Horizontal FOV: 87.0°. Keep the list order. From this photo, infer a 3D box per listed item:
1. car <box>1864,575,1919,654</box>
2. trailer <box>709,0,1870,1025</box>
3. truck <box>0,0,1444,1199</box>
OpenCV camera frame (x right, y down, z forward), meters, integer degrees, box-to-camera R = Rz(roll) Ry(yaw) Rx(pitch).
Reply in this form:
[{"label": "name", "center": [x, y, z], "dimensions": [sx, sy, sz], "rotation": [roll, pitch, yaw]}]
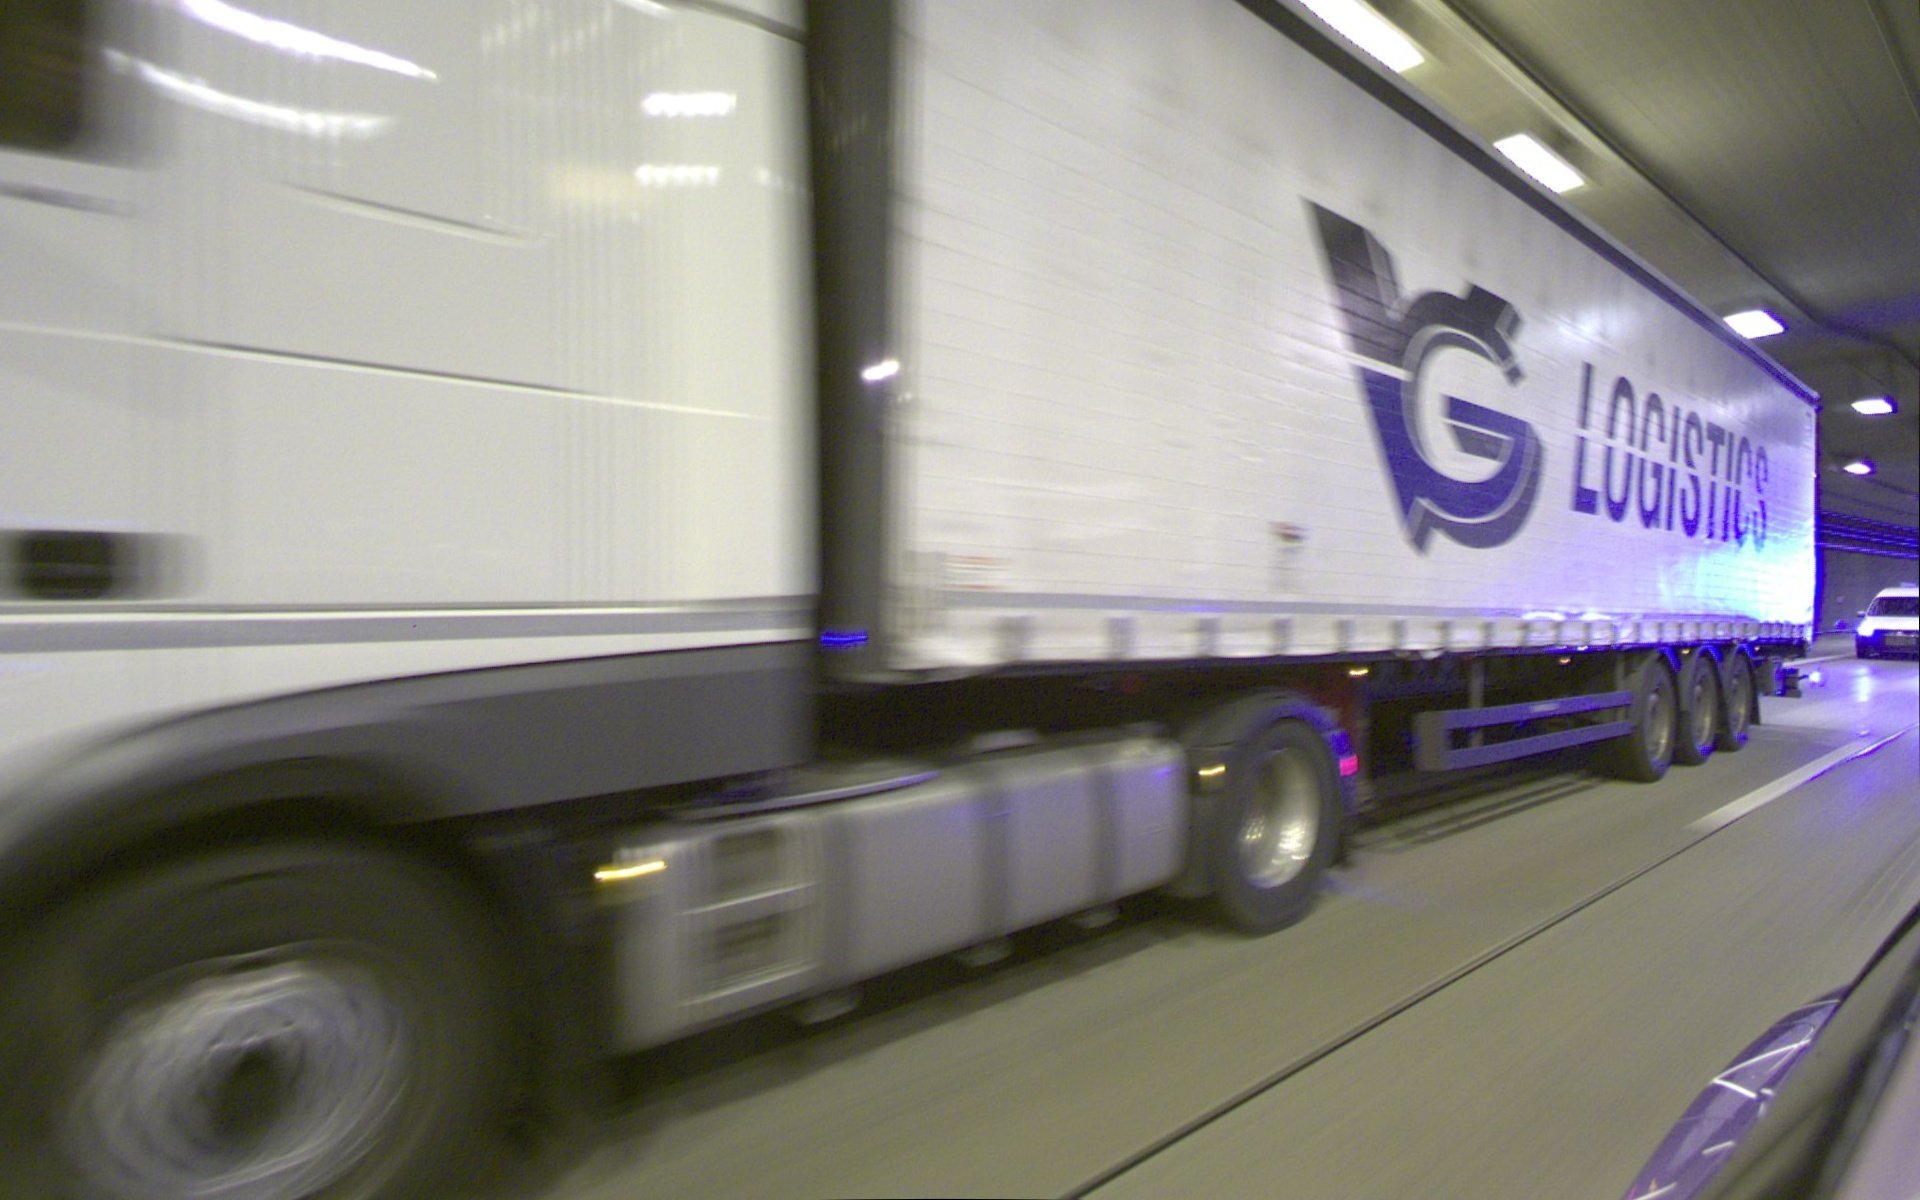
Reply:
[{"label": "car", "center": [24.493, 0.336, 25.503], "dimensions": [4.209, 1.883, 1.840], "rotation": [0, 0, -38]}, {"label": "trailer", "center": [4.777, -0.742, 8.751], "dimensions": [13.752, 4.216, 2.625], "rotation": [0, -1, -40]}, {"label": "truck", "center": [-0.708, -0.704, 4.168], "dimensions": [5.897, 4.216, 2.652], "rotation": [0, 0, -40]}]
